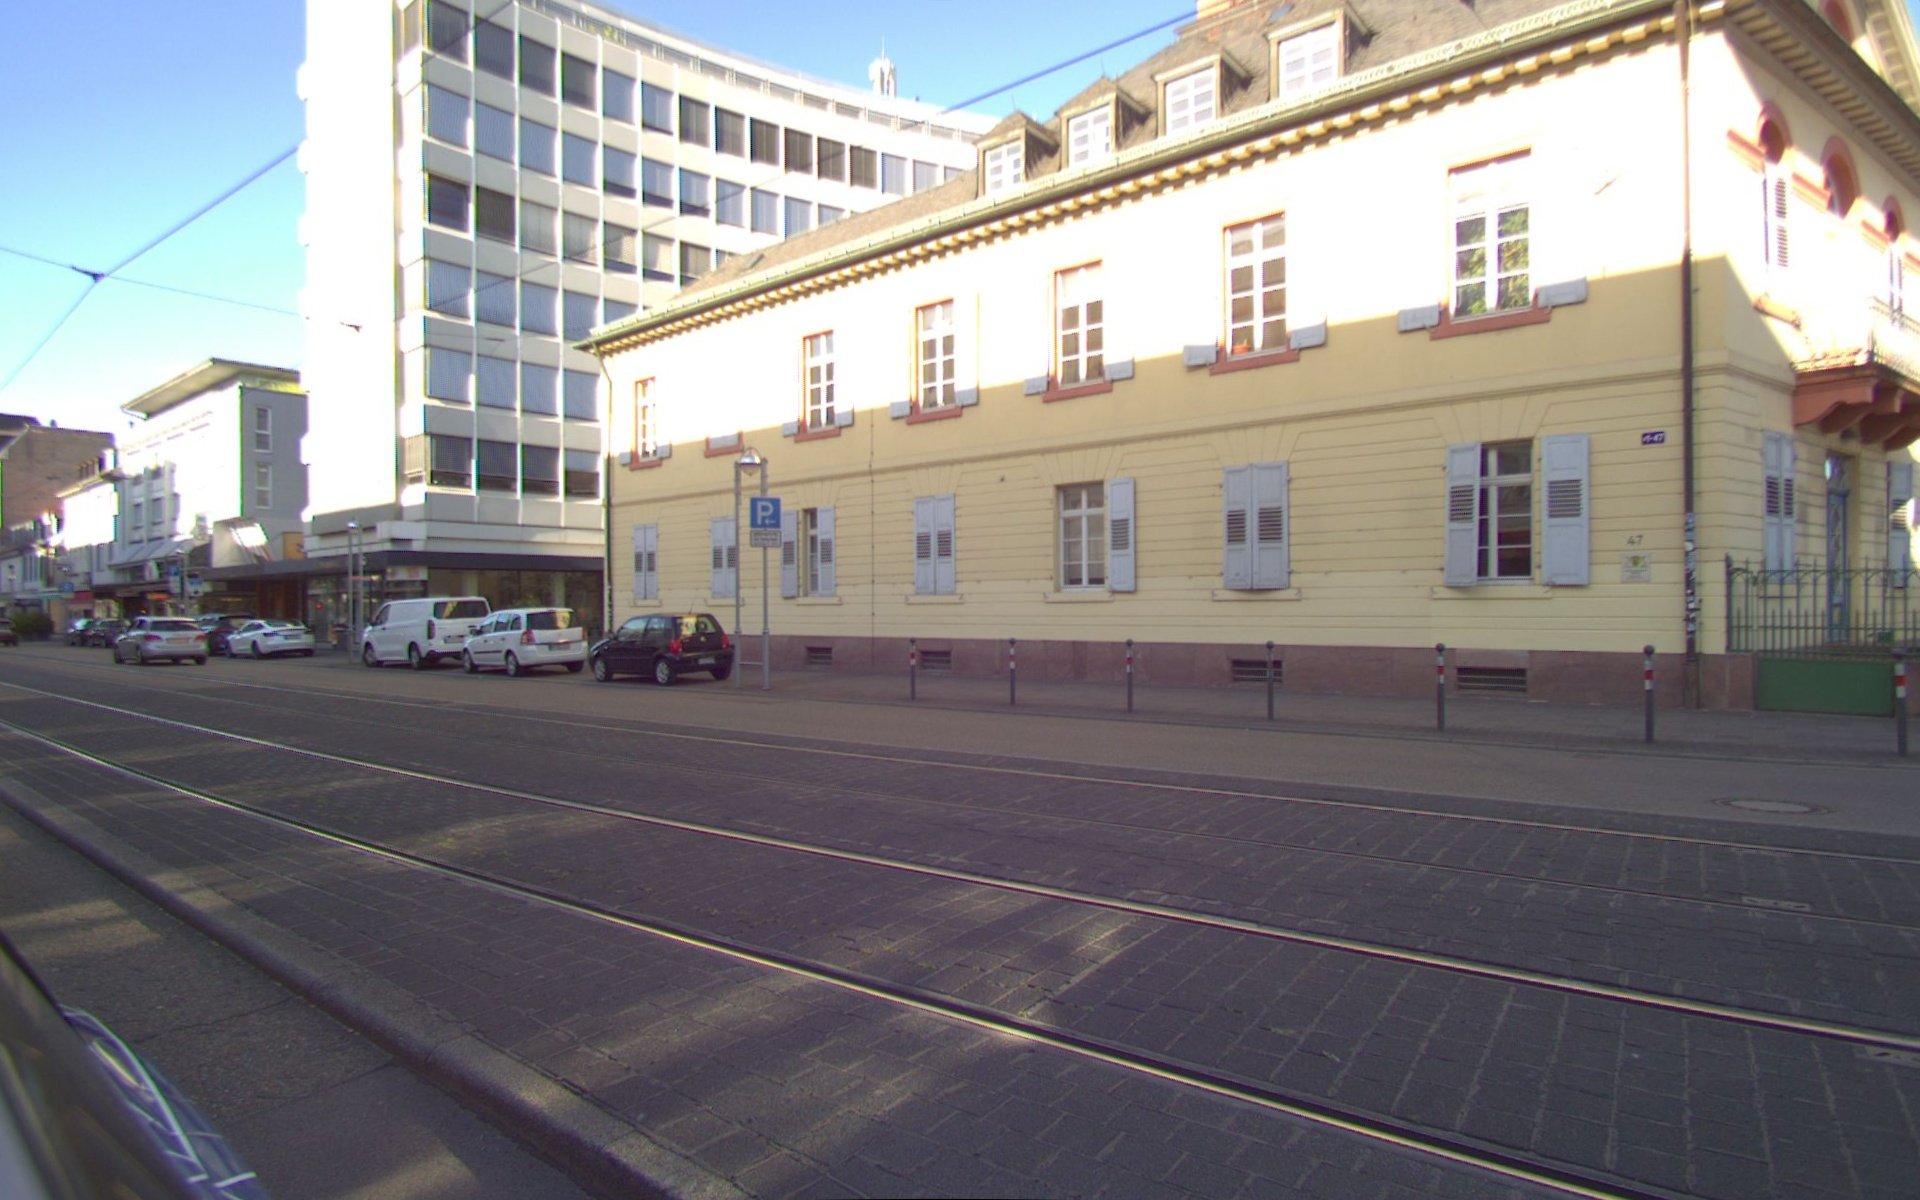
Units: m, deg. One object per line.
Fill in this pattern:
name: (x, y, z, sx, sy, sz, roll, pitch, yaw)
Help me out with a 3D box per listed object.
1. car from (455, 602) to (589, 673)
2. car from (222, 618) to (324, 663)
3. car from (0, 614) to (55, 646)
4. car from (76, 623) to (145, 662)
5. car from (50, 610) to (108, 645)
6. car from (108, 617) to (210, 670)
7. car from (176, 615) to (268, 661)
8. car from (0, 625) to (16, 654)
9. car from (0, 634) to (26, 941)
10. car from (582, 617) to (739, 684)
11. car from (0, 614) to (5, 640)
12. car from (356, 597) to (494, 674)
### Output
car: (-11.027, 0.894, 25.352, 4.005, 1.621, 1.619, -1, 0, 43)
car: (-25.599, 1.448, 37.669, 4.369, 1.541, 1.974, -1, 0, 39)
car: (-62.843, 2.019, 68.187, 3.996, 2.058, 2.172, -1, -1, 39)
car: (-43.924, 2.165, 52.330, 3.995, 1.874, 1.974, -1, 0, 38)
car: (-50.322, 1.554, 57.796, 3.995, 1.896, 1.768, -1, -1, 38)
car: (-26.168, 1.374, 33.018, 3.994, 1.609, 1.739, -1, -1, 38)
car: (-29.914, 1.495, 40.970, 4.103, 1.717, 1.975, -1, 0, 38)
car: (-53.945, 2.216, 56.295, 4.001, 1.519, 1.937, -1, 0, 44)
car: (-6.485, 0.886, 5.122, 3.992, 1.393, 1.862, -1, 0, 36)
car: (-6.356, 1.020, 21.398, 3.210, 1.263, 1.667, -1, 0, 39)
car: (-78.903, 2.201, 81.753, 3.995, 2.029, 1.974, -1, 0, 38)
car: (-15.358, 0.973, 28.953, 4.619, 2.029, 2.014, -1, -1, 41)
